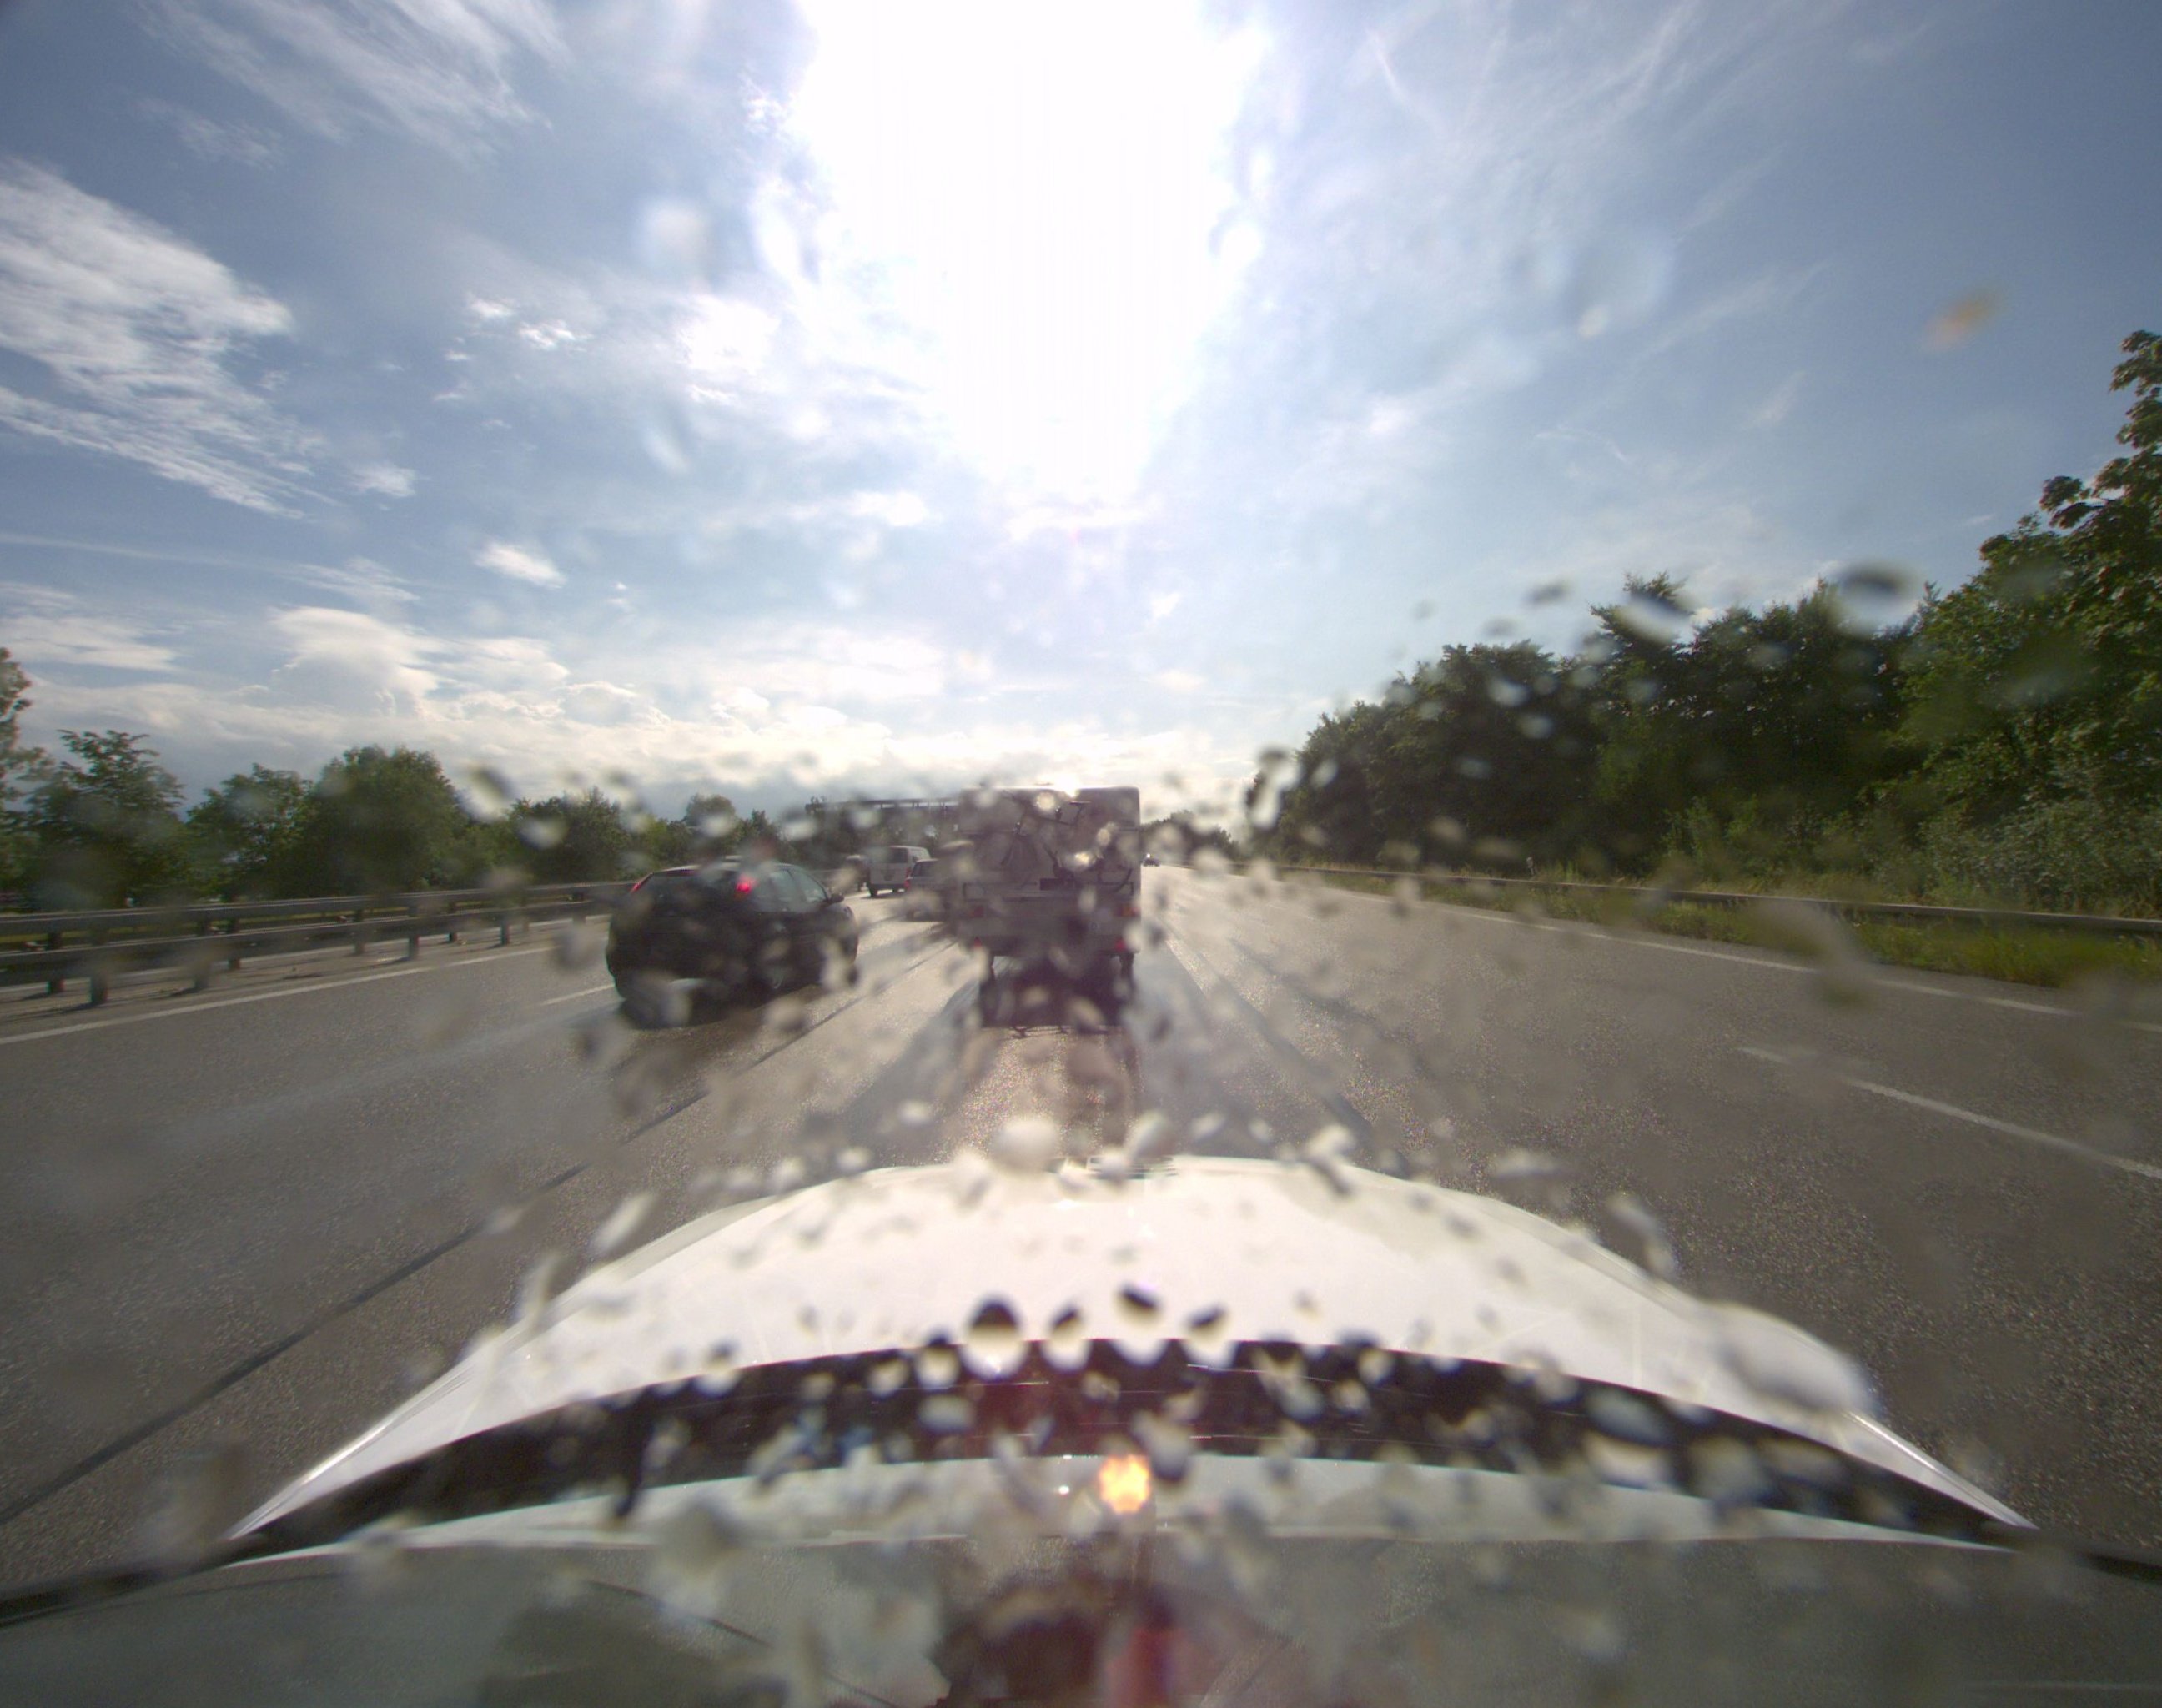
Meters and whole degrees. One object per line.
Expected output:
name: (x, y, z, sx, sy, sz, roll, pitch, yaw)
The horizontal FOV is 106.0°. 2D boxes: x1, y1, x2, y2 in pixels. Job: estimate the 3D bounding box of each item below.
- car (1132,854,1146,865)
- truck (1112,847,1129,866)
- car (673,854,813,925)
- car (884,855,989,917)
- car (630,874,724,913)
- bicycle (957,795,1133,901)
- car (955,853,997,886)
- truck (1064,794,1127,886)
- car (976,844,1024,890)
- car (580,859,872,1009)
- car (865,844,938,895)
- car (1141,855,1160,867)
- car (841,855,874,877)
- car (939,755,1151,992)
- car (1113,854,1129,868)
car: (8.770, 0.874, 124.134, 1.870, 1.629, 3.999, 0, 0, 0)
truck: (5.497, 0.330, 113.950, 2.406, 2.443, 6.056, -1, 0, 2)
car: (-8.275, 0.800, 20.345, 1.777, 1.578, 3.916, -1, 0, 1)
car: (-3.739, 0.787, 21.750, 1.980, 1.458, 3.828, -1, 0, 2)
car: (-16.203, 1.547, 32.908, 1.856, 1.391, 3.998, 0, 0, -1)
bicycle: (-0.387, -0.063, 9.079, 1.926, 1.141, 0.384, 0, -1, 2)
car: (-5.605, 0.809, 43.761, 1.767, 1.662, 3.998, 0, 0, -1)
truck: (0.768, -0.699, 46.659, 3.135, 4.626, 10.735, -1, 0, 0)
car: (-3.674, 0.575, 37.530, 1.871, 2.014, 3.998, 0, 0, -1)
car: (-4.071, 0.817, 10.158, 1.752, 1.443, 4.002, -1, 0, 2)
car: (-7.353, 0.598, 33.908, 1.841, 1.934, 5.017, -1, 0, 1)
car: (9.012, 0.935, 105.784, 1.872, 1.494, 3.996, 0, 0, -3)
car: (-21.621, 1.159, 78.865, 1.987, 2.013, 4.362, -1, 0, 0)
car: (-0.343, 0.235, 11.288, 2.401, 2.674, 4.002, 0, 0, 2)
car: (4.715, 0.840, 96.686, 1.828, 1.558, 4.002, 0, 0, 2)
